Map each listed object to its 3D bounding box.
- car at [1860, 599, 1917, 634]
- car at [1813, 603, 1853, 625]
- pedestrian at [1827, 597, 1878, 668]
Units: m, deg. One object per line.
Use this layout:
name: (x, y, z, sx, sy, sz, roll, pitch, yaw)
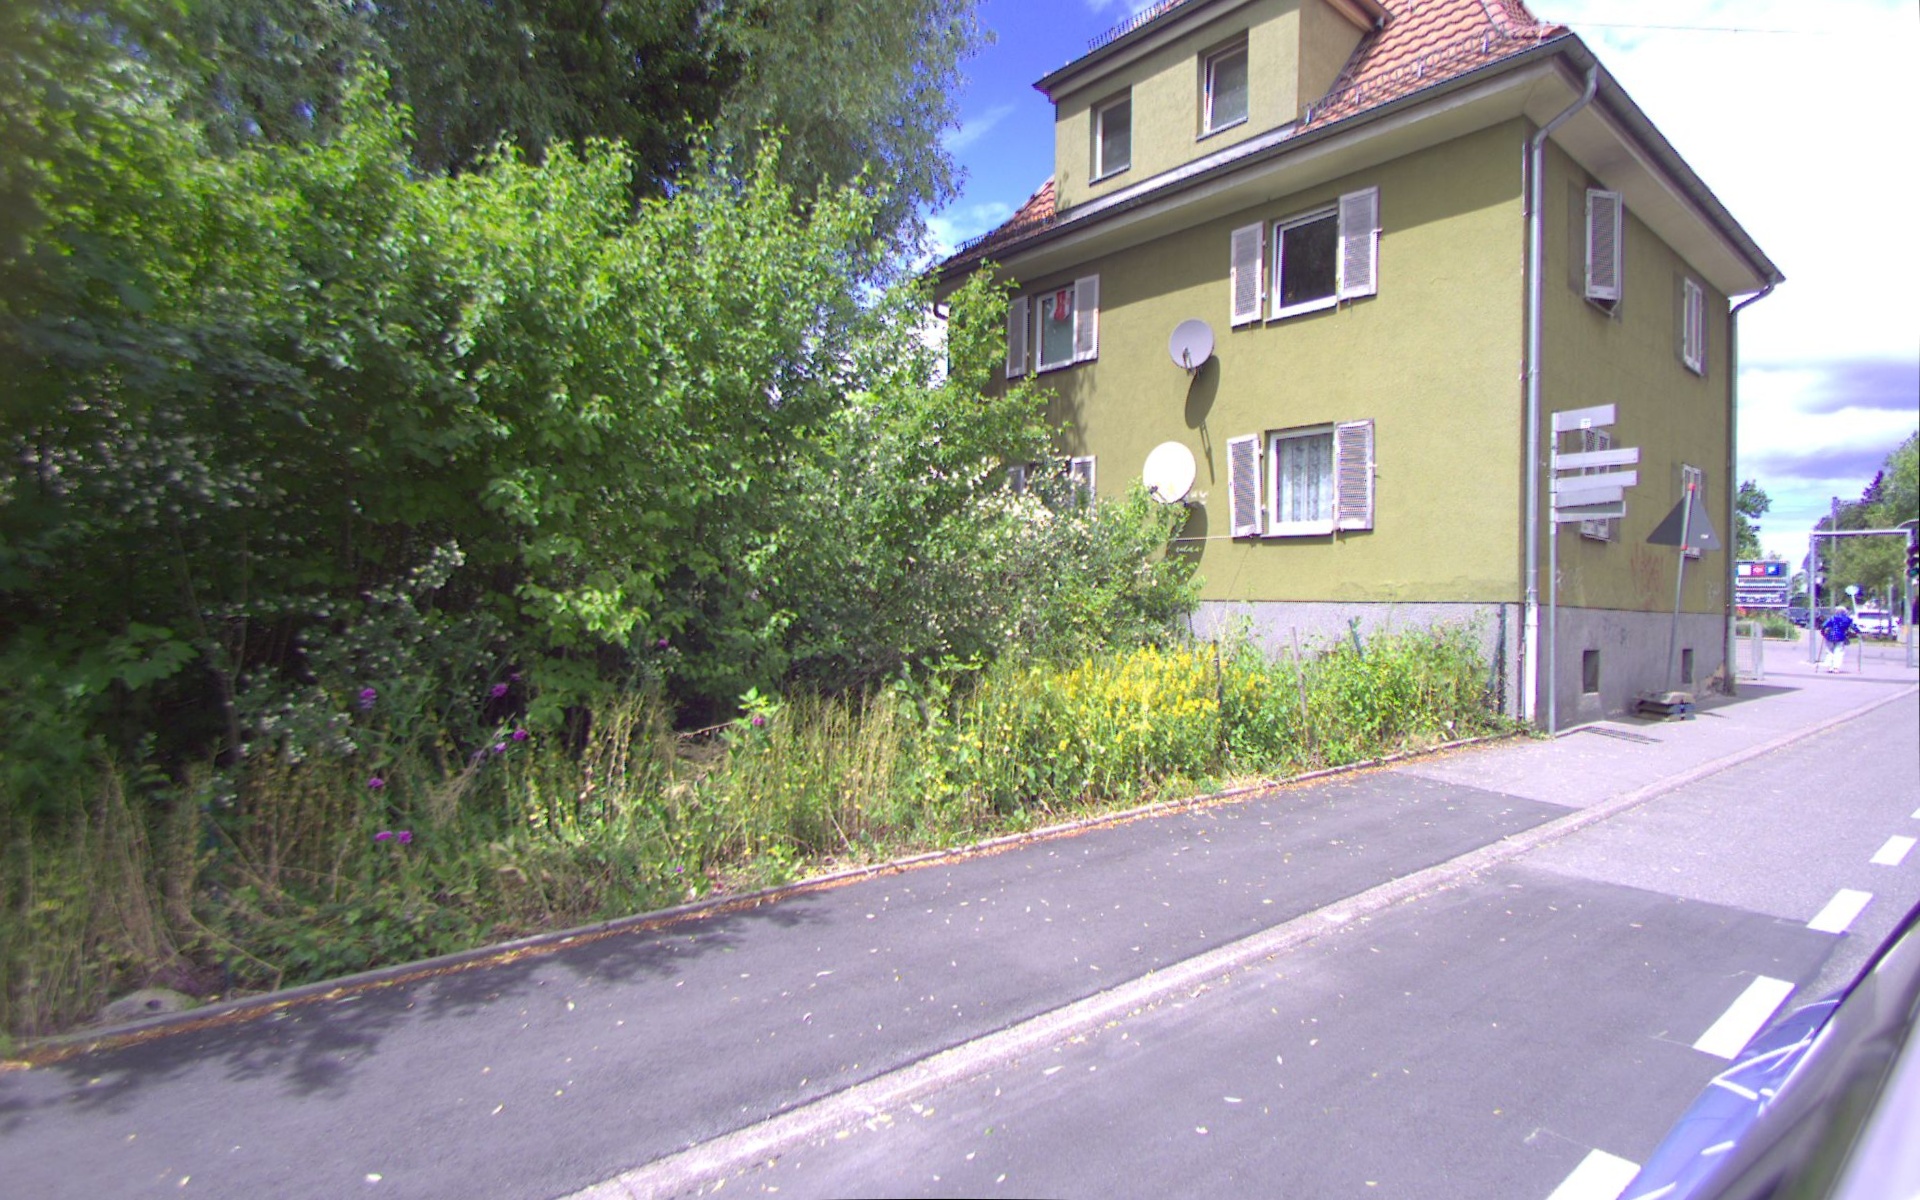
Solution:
car: (46.031, 0.783, 50.235, 1.788, 1.549, 3.864, 3, 2, 40)
car: (62.943, 0.988, 73.008, 1.694, 1.551, 3.951, -1, -1, 34)
pedestrian: (21.022, 0.746, 23.828, 0.824, 1.592, 0.972, 2, 1, 45)
